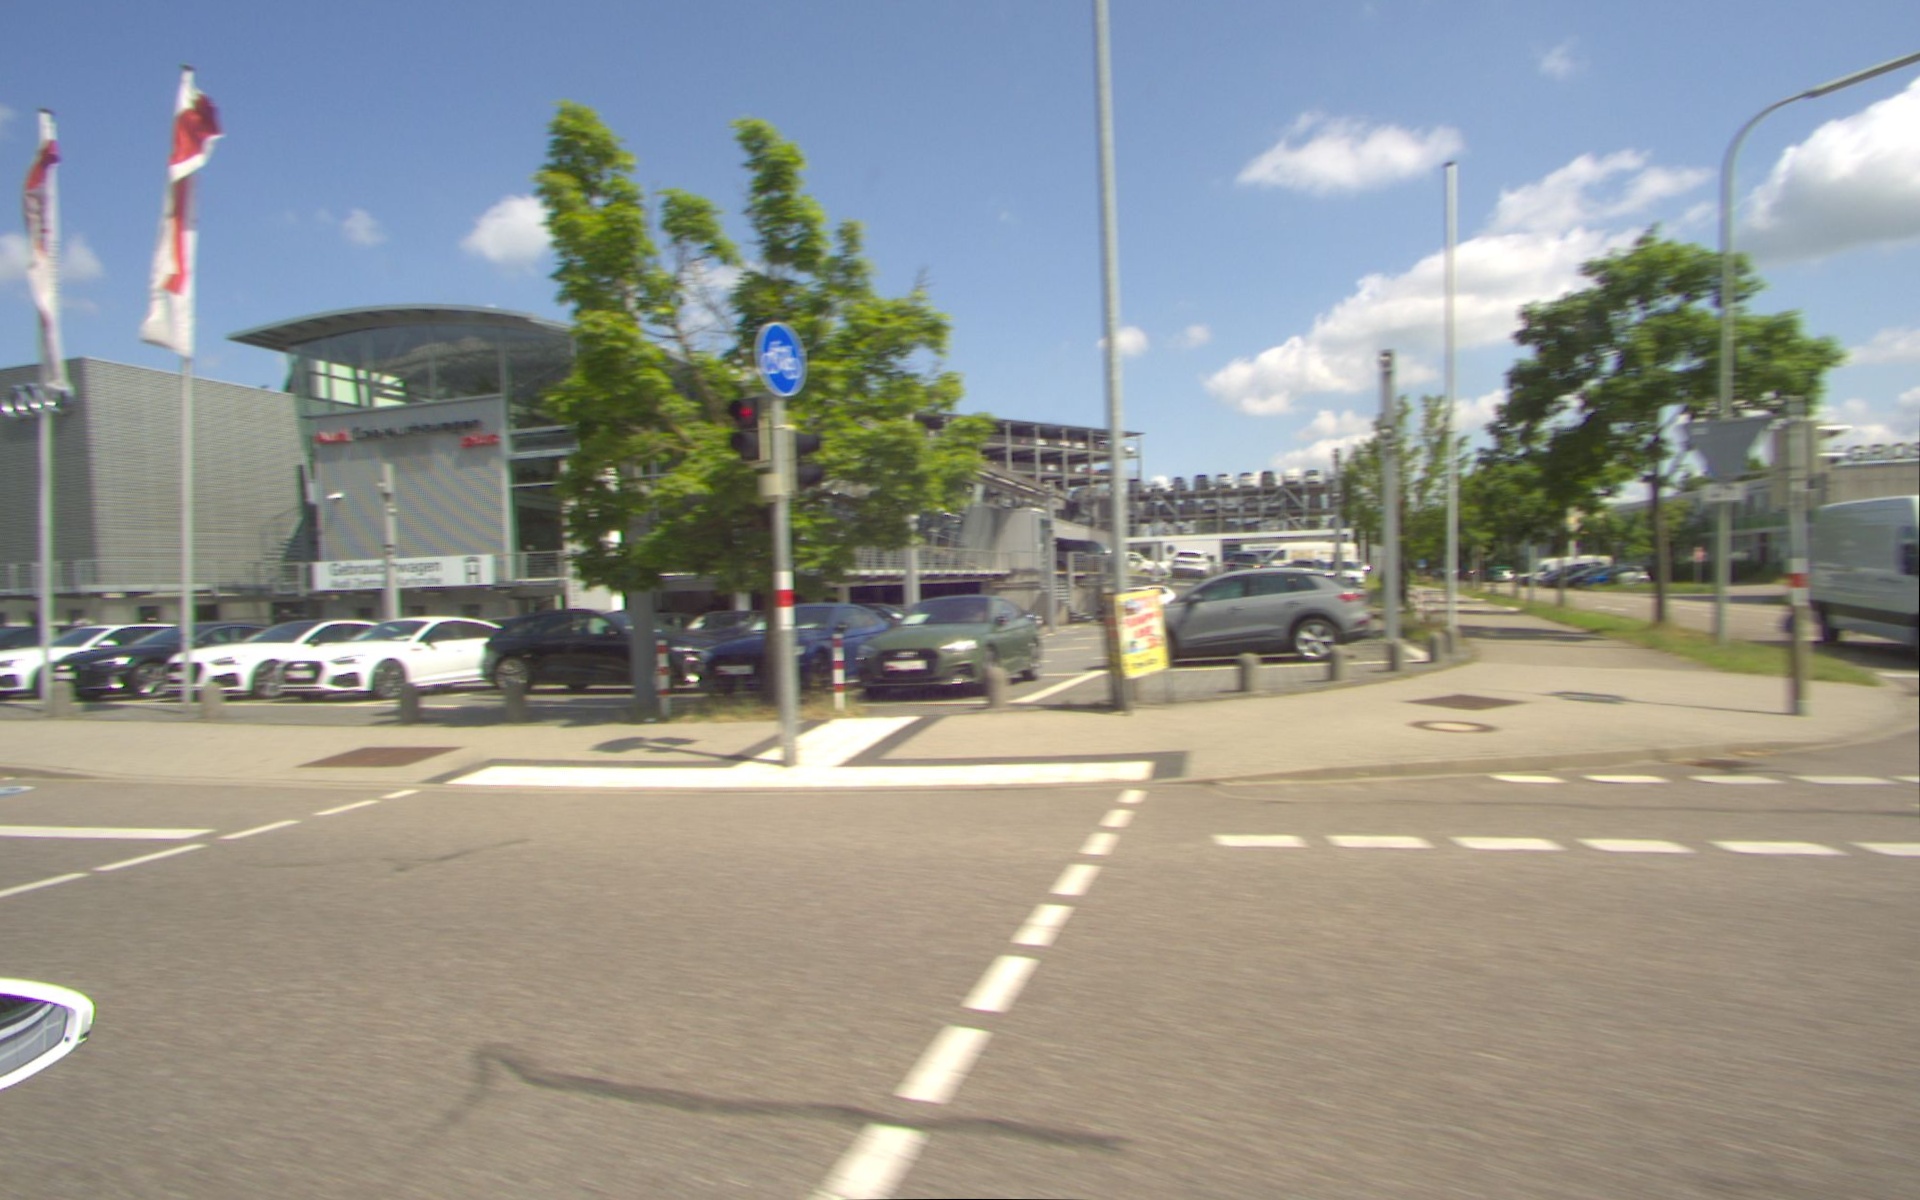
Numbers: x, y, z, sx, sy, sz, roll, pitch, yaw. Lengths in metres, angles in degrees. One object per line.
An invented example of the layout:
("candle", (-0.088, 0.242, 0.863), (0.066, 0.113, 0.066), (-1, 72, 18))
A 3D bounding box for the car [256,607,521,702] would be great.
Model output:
("car", (-9.942, 0.950, 17.805), (1.764, 1.482, 3.996), (-1, -2, 17))

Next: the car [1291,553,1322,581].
("car", (20.315, -1.913, 58.764), (1.537, 1.573, 3.596), (1, 1, 16))

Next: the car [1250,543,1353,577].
("car", (22.403, -2.600, 65.875), (6.292, 2.130, 1.762), (1, 1, 17))

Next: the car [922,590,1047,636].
("car", (0.970, 0.495, 39.234), (4.508, 1.700, 1.903), (1, 1, 19))

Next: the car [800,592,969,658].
("car", (-2.145, 0.670, 28.876), (4.469, 1.764, 1.997), (1, 1, 16))

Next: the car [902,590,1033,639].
("car", (0.301, 0.510, 37.208), (4.508, 1.700, 1.903), (1, 1, 19))

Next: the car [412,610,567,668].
("car", (-14.373, 1.149, 30.897), (1.873, 1.519, 4.352), (-1, 1, 17))

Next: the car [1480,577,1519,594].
("car", (67.020, -1.786, 124.451), (3.925, 2.041, 1.998), (1, 1, 14))

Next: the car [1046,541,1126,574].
("car", (7.395, -2.479, 58.703), (4.374, 1.825, 1.762), (1, 1, 16))

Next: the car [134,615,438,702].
("car", (-12.307, 0.986, 18.720), (1.872, 1.315, 4.582), (1, 0, 17))

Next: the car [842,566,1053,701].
("car", (0.008, 0.406, 15.048), (1.872, 1.700, 4.582), (1, 0, 17))

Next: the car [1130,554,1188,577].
("car", (13.805, -2.403, 69.647), (3.924, 1.573, 1.764), (0, 1, 10))

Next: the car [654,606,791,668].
("car", (-6.707, 1.019, 28.833), (1.873, 1.519, 4.352), (-1, 1, 17))

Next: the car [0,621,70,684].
("car", (-22.671, 1.155, 21.823), (1.872, 1.401, 4.584), (1, -1, 17))

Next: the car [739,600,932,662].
("car", (-3.276, 0.854, 26.472), (4.670, 1.530, 1.983), (-1, -2, 17))

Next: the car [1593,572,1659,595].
("car", (51.212, -1.252, 77.075), (3.933, 1.773, 1.994), (1, 1, 24))

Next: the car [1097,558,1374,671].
("car", (4.925, 0.289, 18.079), (4.510, 1.700, 1.903), (-3, -1, 19))

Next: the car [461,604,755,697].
("car", (-6.090, 0.883, 17.397), (4.670, 1.482, 1.794), (-1, -2, 17))

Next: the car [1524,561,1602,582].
("car", (60.422, -2.817, 100.529), (6.250, 2.041, 2.567), (1, 1, 20))

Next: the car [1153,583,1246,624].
("car", (10.596, 0.140, 44.171), (4.545, 1.700, 1.888), (0, 1, -45))

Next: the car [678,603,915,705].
("car", (-2.365, 0.731, 15.841), (1.872, 1.315, 4.582), (1, 0, 17))

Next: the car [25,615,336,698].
("car", (-14.963, 0.998, 19.609), (1.872, 1.315, 4.582), (1, 0, 17))

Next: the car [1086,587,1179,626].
("car", (7.907, 0.262, 45.703), (4.545, 1.700, 1.888), (0, 1, -45))

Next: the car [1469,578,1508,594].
("car", (67.675, -1.816, 128.286), (3.925, 2.041, 1.998), (1, 1, 14))

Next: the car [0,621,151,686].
("car", (-20.264, 1.116, 21.215), (1.872, 1.313, 4.587), (1, -3, 17))

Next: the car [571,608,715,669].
("car", (-9.172, 1.063, 29.374), (1.873, 1.519, 4.352), (-1, 1, 17))

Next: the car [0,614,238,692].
("car", (-17.563, 0.980, 20.289), (1.872, 1.315, 4.582), (1, 0, 17))

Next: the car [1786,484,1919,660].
("car", (16.217, -0.413, 16.555), (2.104, 2.642, 6.842), (1, 1, 24))
